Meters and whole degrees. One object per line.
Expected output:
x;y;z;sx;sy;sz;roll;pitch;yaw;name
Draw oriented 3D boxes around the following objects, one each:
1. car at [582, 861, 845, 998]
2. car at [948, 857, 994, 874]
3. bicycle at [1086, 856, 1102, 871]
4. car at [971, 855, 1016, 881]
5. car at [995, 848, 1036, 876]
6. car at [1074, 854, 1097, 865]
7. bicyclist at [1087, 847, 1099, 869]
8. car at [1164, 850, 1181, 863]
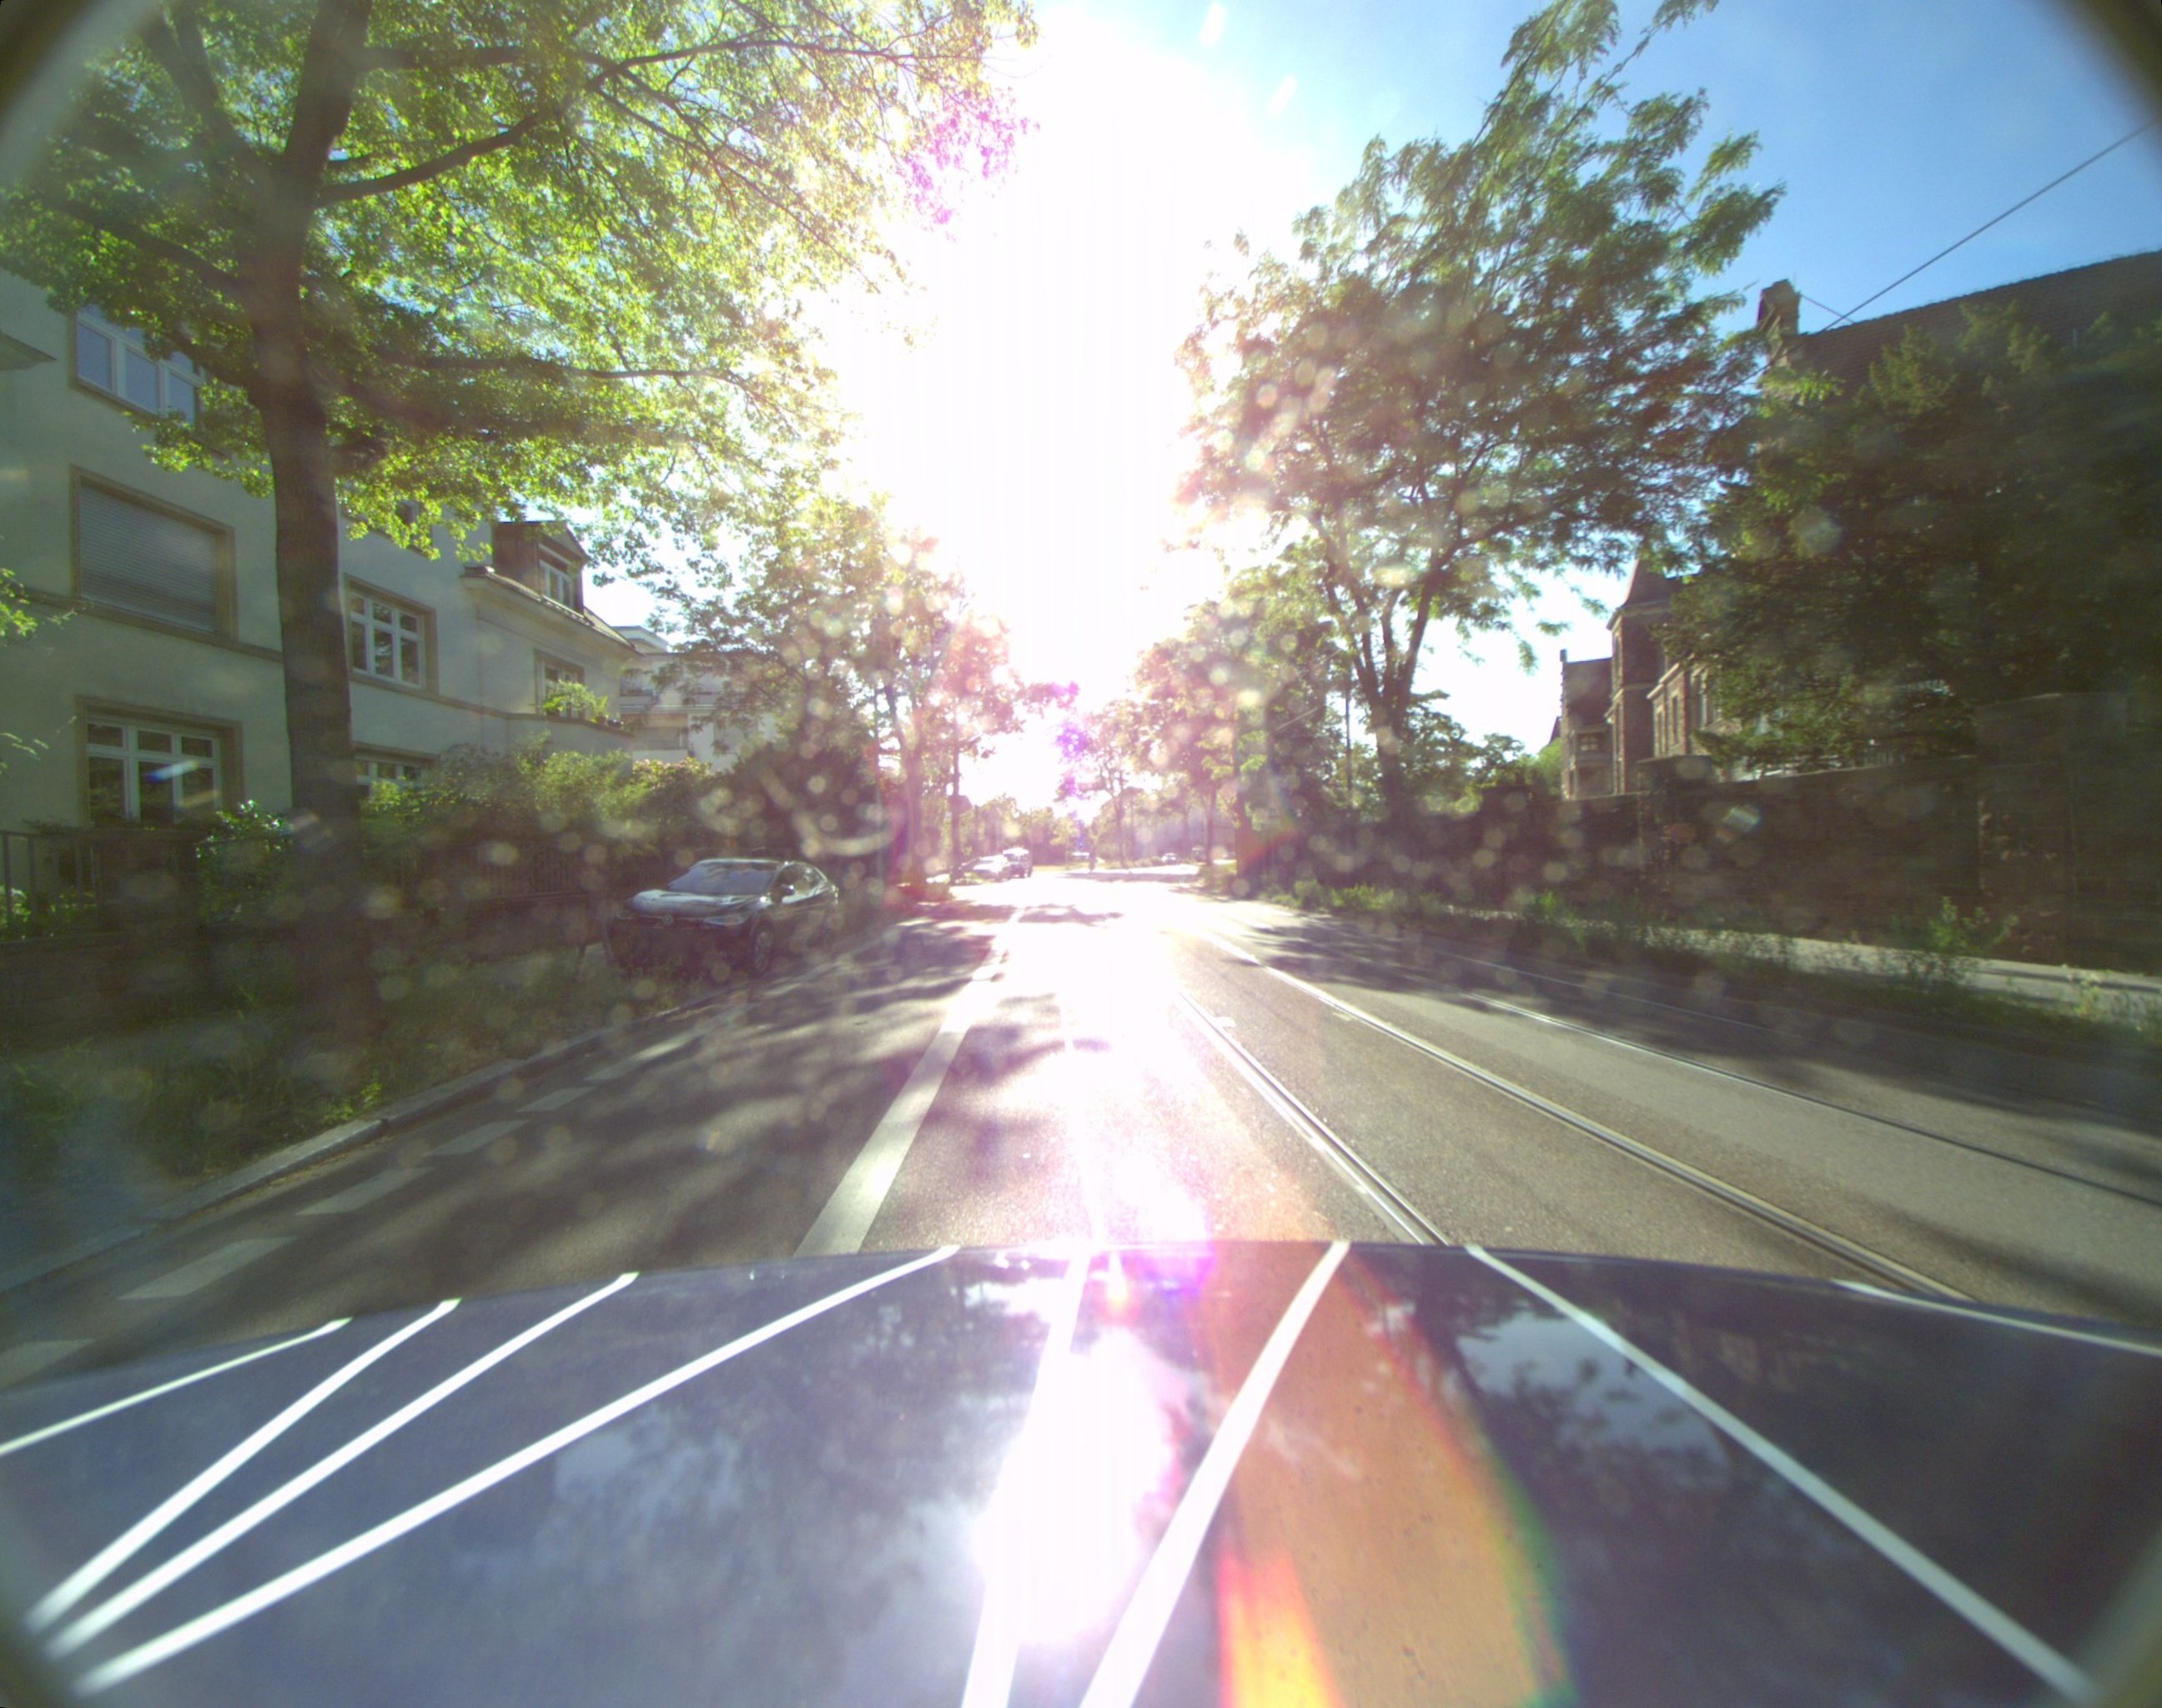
-5.193;0.949;11.500;1.919;1.590;4.258;2;0;-1;car
-10.035;1.050;69.531;3.998;1.433;1.813;-2;0;-3;car
0.985;0.699;57.438;0.588;1.105;1.857;-1;0;19;bicycle
-5.158;0.797;45.326;1.901;1.402;4.260;-1;0;4;car
-4.396;0.509;51.681;1.900;1.775;4.670;-1;0;6;car
0.761;0.923;128.781;3.908;1.683;1.905;-1;0;-1;car
0.925;0.293;57.315;0.643;1.632;0.666;-2;1;19;bicyclist
11.923;0.320;98.713;1.997;1.539;4.002;-2;0;8;car
